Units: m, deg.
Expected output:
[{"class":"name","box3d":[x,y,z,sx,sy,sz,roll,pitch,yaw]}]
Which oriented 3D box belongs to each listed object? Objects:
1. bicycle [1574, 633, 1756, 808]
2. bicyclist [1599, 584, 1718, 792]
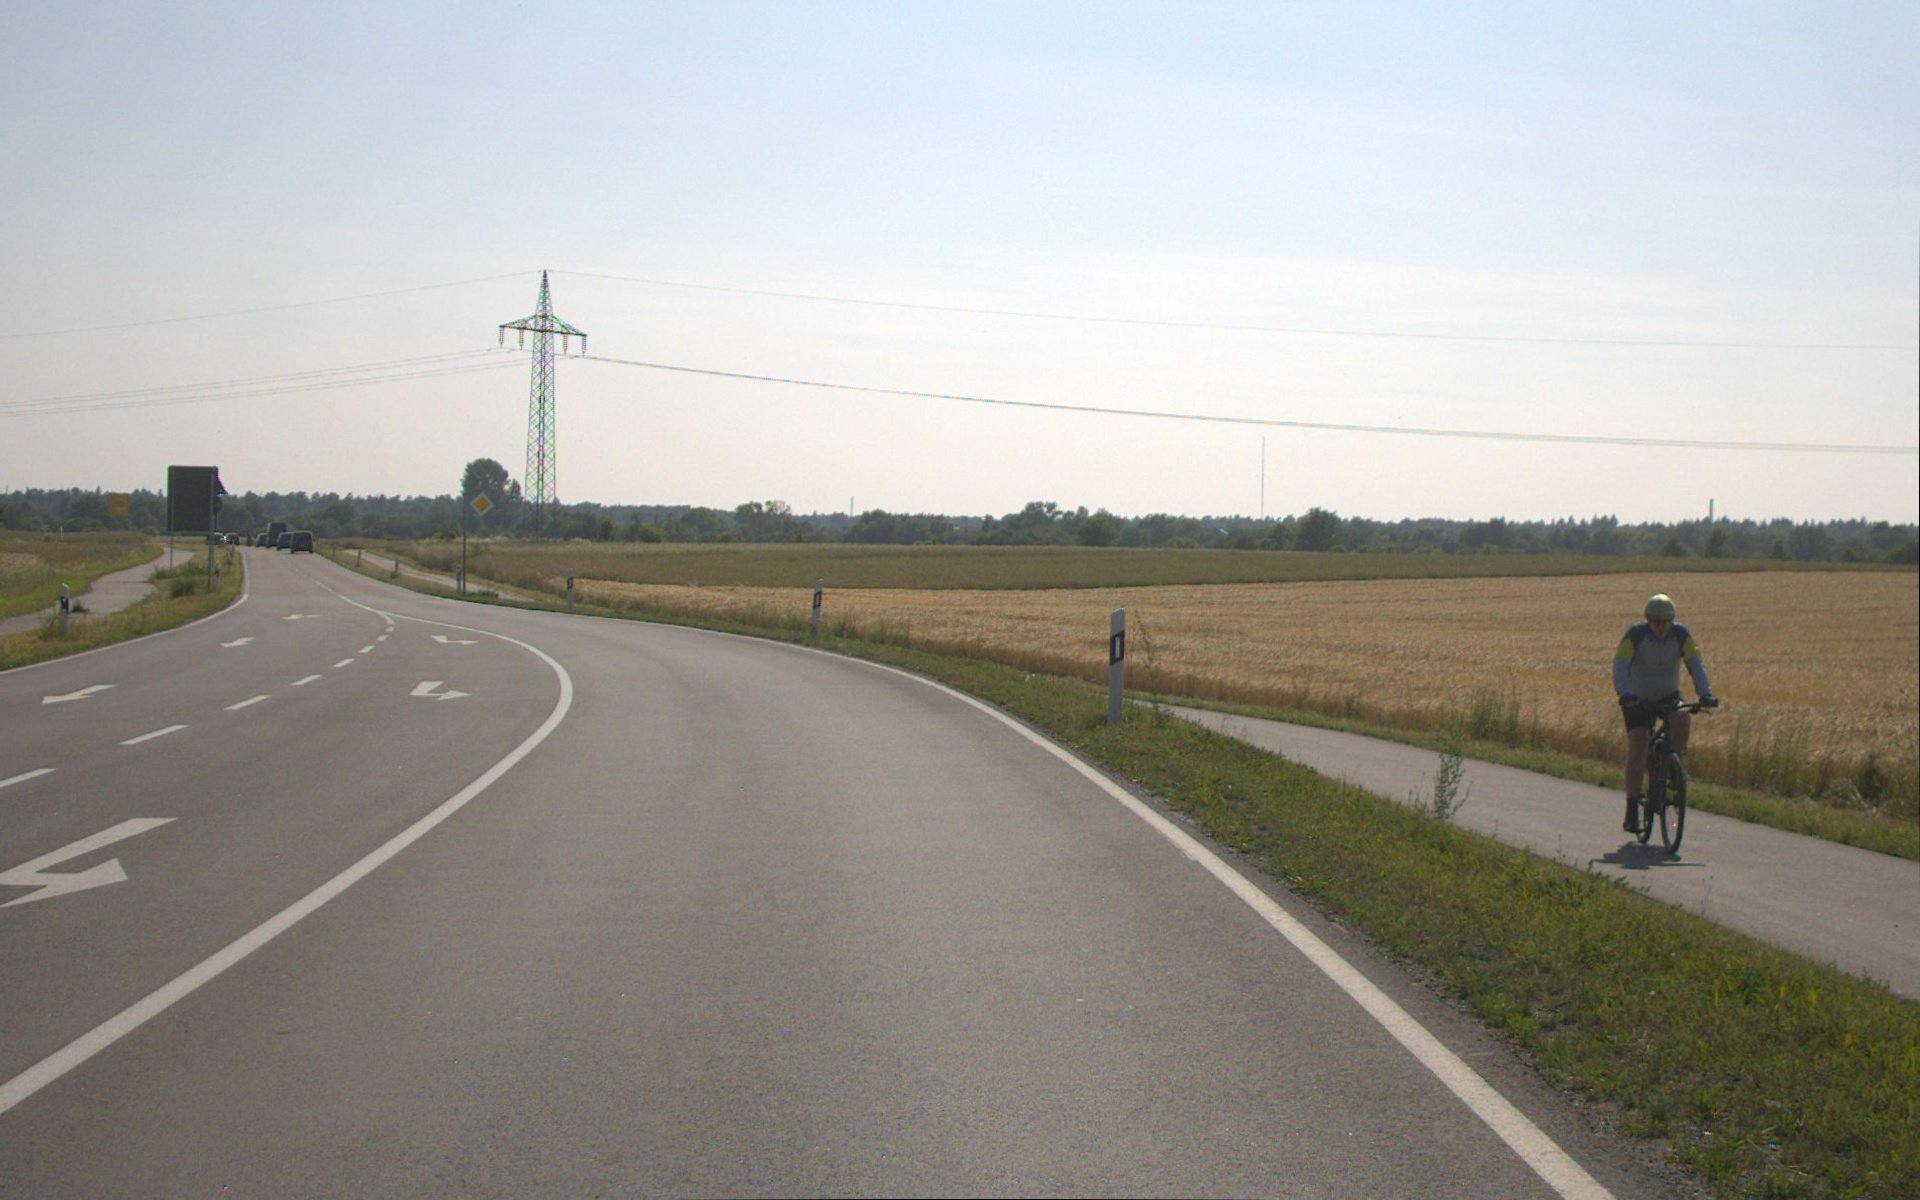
[{"class":"bicycle","box3d":[5.085,0.843,24.949,0.845,1.138,2.206,3,0,1]},{"class":"bicyclist","box3d":[5.071,0.628,25.002,0.637,1.452,0.817,3,0,1]}]
